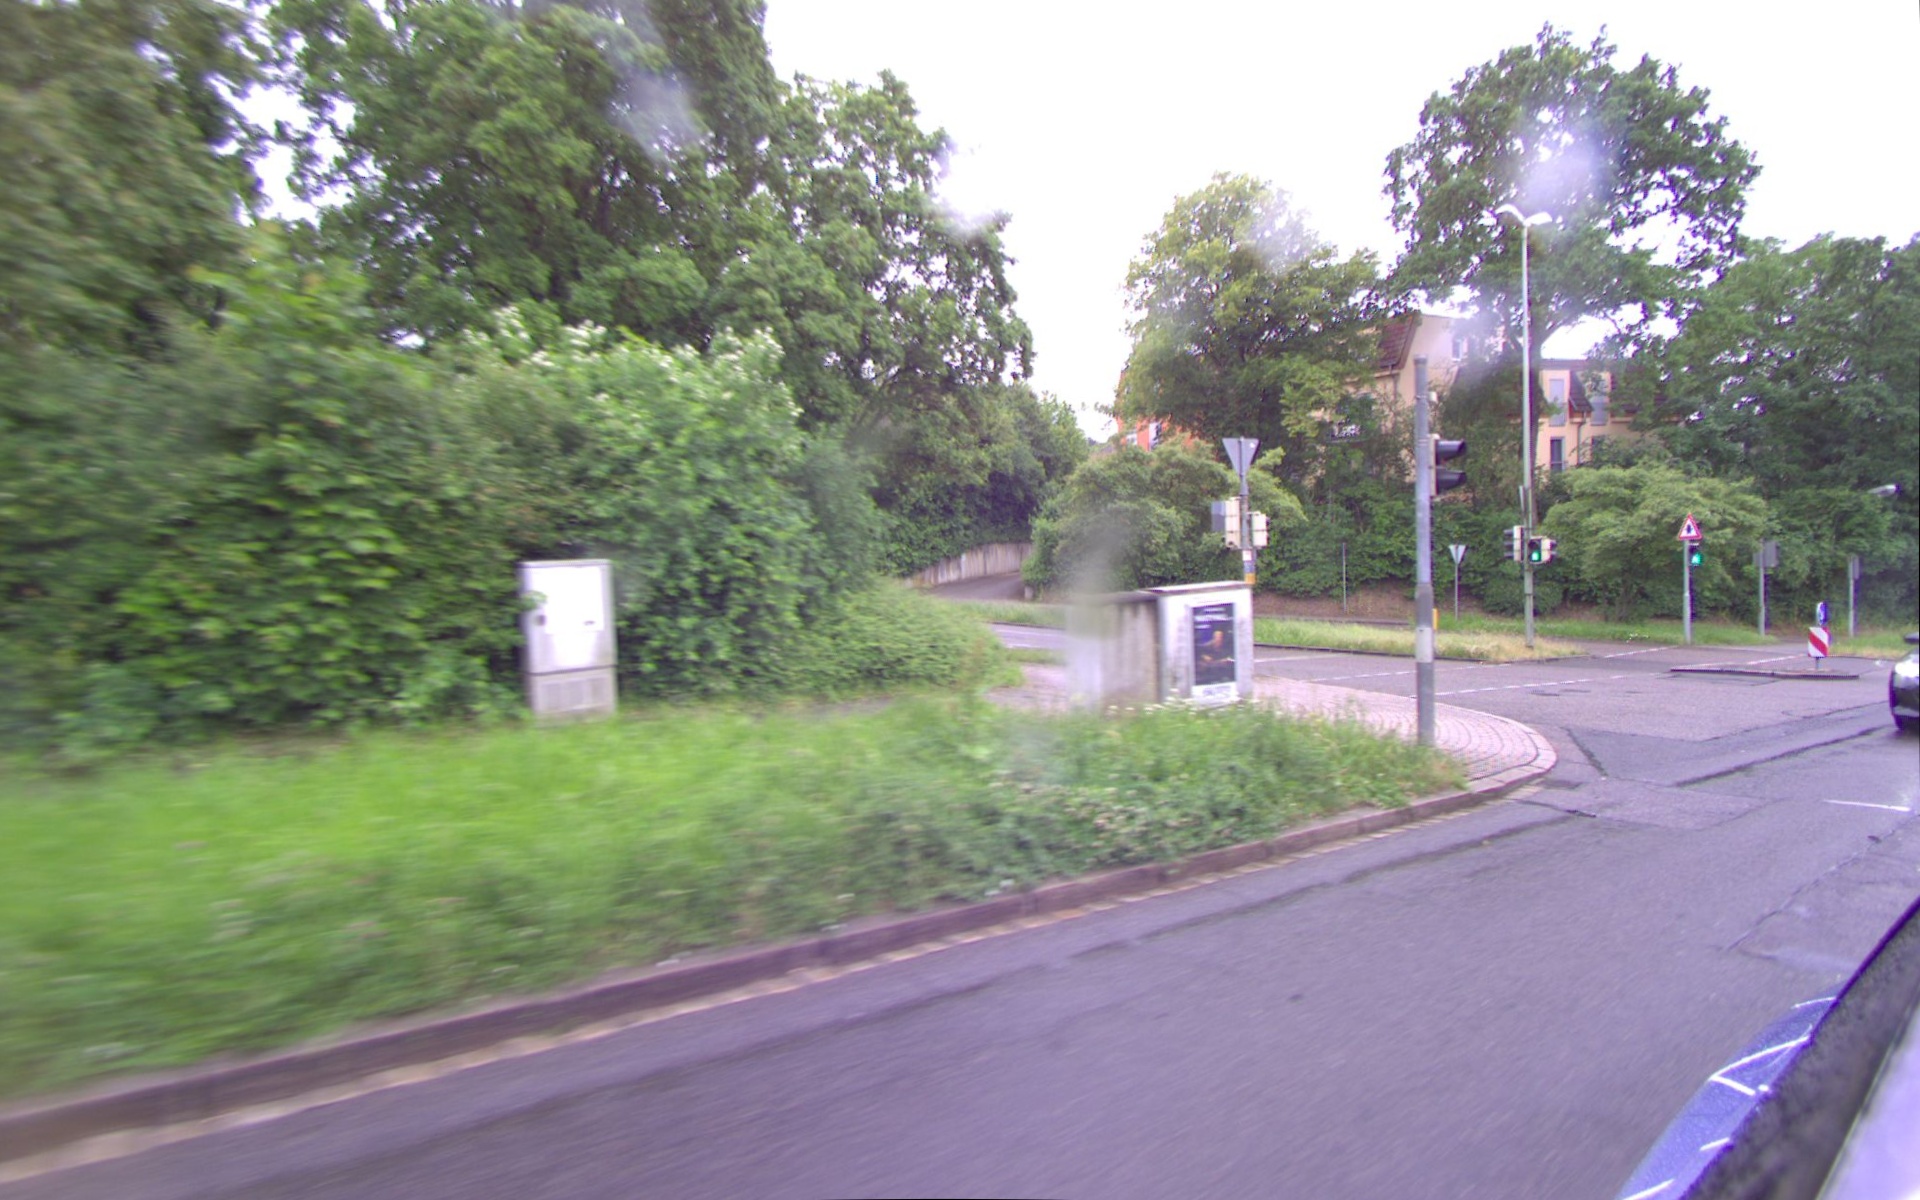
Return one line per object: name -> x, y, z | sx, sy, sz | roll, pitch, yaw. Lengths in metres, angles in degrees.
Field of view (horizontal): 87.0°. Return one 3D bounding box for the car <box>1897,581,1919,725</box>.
car -> 12.631, 0.592, 11.637 | 4.041, 1.575, 1.869 | -1, 2, -35
